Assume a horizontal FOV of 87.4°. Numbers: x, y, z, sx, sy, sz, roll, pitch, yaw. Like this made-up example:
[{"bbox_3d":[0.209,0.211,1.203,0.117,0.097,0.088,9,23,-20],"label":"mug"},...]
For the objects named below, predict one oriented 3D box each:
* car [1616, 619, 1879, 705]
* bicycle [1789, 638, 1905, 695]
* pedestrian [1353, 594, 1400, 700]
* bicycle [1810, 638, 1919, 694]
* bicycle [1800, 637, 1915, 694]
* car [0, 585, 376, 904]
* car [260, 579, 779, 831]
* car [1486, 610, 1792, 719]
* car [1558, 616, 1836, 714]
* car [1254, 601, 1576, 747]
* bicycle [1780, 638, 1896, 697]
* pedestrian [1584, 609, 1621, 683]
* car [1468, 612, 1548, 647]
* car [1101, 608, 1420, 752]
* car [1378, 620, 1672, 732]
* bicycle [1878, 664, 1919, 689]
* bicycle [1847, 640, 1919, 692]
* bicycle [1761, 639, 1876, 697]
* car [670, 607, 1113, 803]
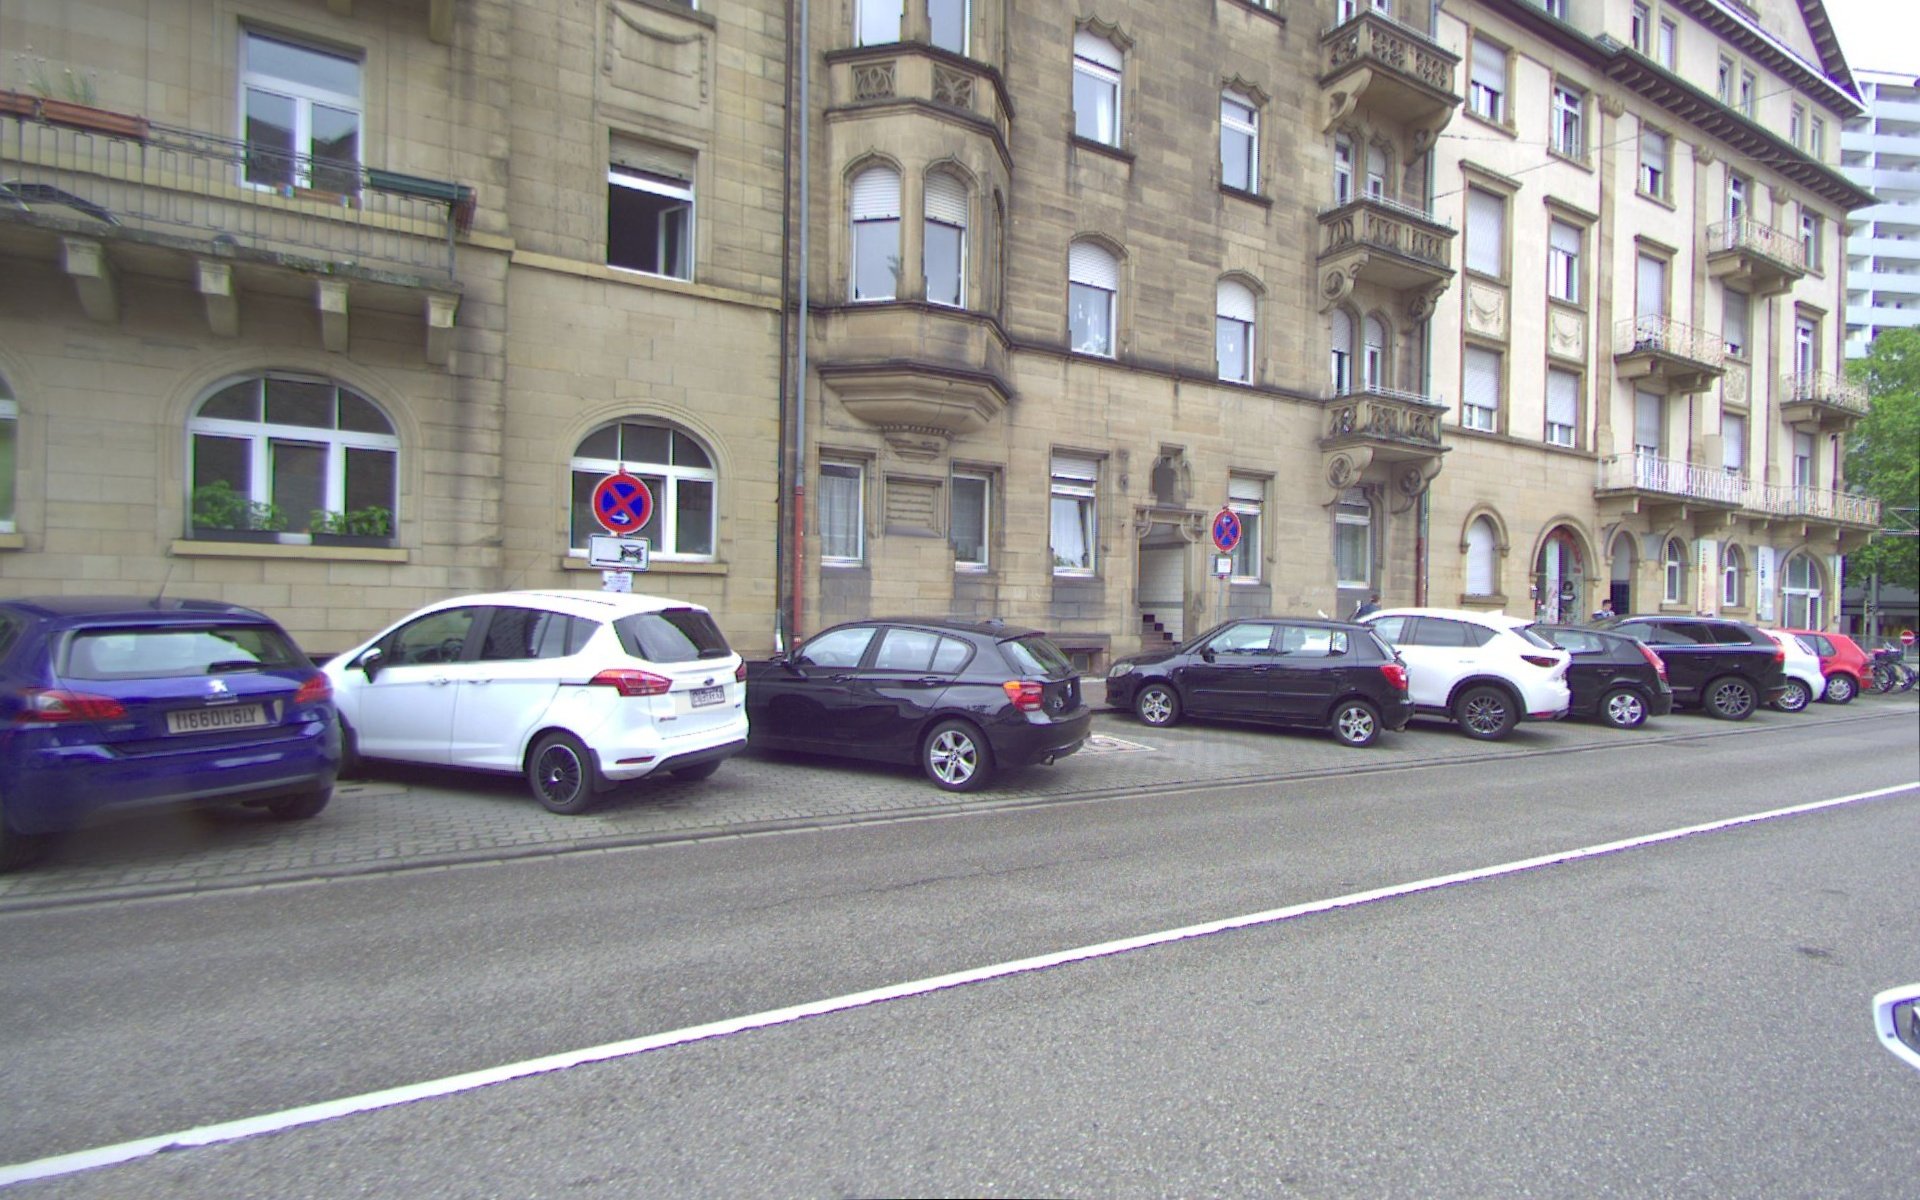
[{"bbox_3d":[16.272,1.234,20.963,3.919,1.492,1.685,2,1,12],"label":"car"},{"bbox_3d":[20.468,1.514,23.225,0.437,1.050,1.876,1,5,-31],"label":"bicycle"},{"bbox_3d":[7.949,0.879,19.195,0.544,1.984,0.616,1,0,-29],"label":"pedestrian"},{"bbox_3d":[21.545,1.539,23.925,0.437,1.050,1.876,1,5,-31],"label":"bicycle"},{"bbox_3d":[21.022,1.508,23.574,0.437,1.050,1.876,1,5,-31],"label":"bicycle"},{"bbox_3d":[-5.869,0.698,6.708,3.682,1.465,1.820,3,2,30],"label":"car"},{"bbox_3d":[-3.673,0.698,8.390,3.922,1.575,1.702,3,2,22],"label":"car"},{"bbox_3d":[11.830,1.072,17.841,4.141,1.673,1.732,1,0,18],"label":"car"},{"bbox_3d":[13.951,1.186,19.269,3.920,1.492,1.564,3,2,18],"label":"car"},{"bbox_3d":[6.500,0.951,14.494,3.935,1.746,1.835,1,0,36],"label":"car"},{"bbox_3d":[20.019,1.520,22.943,0.437,1.050,1.876,1,5,-31],"label":"bicycle"},{"bbox_3d":[15.930,1.122,24.907,0.544,1.809,0.564,1,0,-29],"label":"pedestrian"},{"bbox_3d":[14.124,0.753,25.865,1.991,0.845,0.909,2,-1,-31],"label":"car"},{"bbox_3d":[3.900,0.954,13.175,3.738,1.517,1.569,3,0,22],"label":"car"},{"bbox_3d":[8.876,1.133,16.185,3.923,1.514,1.731,1,0,23],"label":"car"},{"bbox_3d":[23.318,1.911,23.945,1.017,0.451,1.876,0,6,-31],"label":"bicycle"},{"bbox_3d":[22.281,1.588,23.709,0.437,1.050,1.876,1,5,-31],"label":"bicycle"},{"bbox_3d":[19.281,1.500,22.610,0.436,1.050,1.879,1,4,-26],"label":"bicycle"},{"bbox_3d":[-0.677,0.866,9.699,3.924,1.436,1.660,2,0,25],"label":"car"}]
